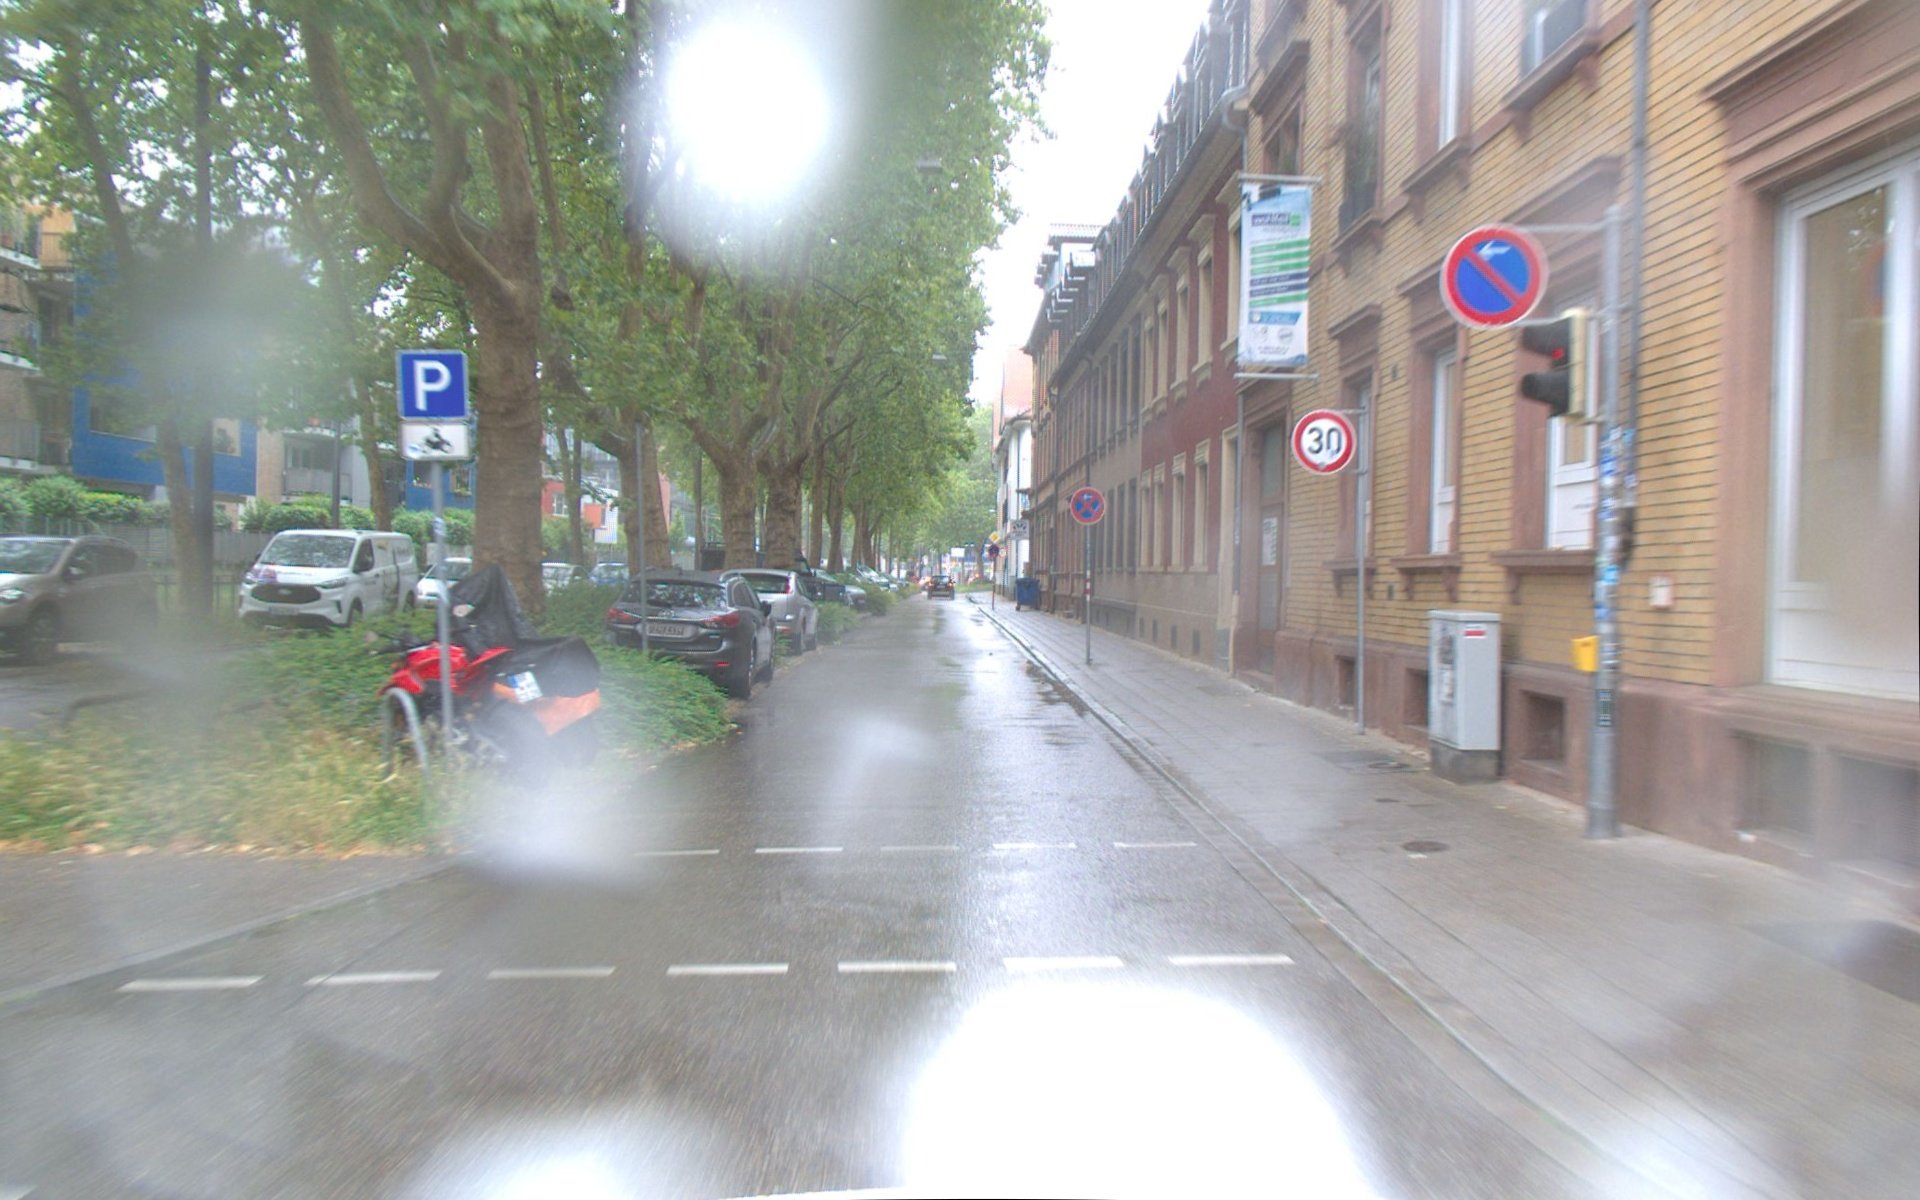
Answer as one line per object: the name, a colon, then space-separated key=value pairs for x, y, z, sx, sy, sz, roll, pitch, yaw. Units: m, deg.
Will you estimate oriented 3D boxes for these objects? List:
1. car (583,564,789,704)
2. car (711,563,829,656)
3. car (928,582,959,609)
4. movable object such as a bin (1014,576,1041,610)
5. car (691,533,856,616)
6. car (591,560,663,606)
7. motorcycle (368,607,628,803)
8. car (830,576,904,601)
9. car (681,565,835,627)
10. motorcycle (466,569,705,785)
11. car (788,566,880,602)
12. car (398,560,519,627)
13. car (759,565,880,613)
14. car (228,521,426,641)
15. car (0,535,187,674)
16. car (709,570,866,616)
car: x=-3.346 y=0.341 z=21.080 sx=1.857 sy=1.511 sz=4.621 roll=2 pitch=1 yaw=-1
car: x=-3.448 y=0.127 z=30.728 sx=1.694 sy=1.541 sz=4.207 roll=2 pitch=1 yaw=-1
car: x=-1.092 y=-0.328 z=107.551 sx=1.953 sy=1.668 sz=3.999 roll=2 pitch=0 yaw=-1
movable object such as a bin: x=2.820 y=-0.300 z=68.802 sx=1.000 sy=1.324 sz=1.367 roll=-2 pitch=1 yaw=-1
car: x=-5.451 y=-0.761 z=48.278 sx=4.562 sy=2.323 sz=2.006 roll=1 pitch=1 yaw=33
car: x=-12.176 y=-0.642 z=60.691 sx=1.866 sy=1.560 sz=4.214 roll=1 pitch=1 yaw=-2
motorcycle: x=-3.415 y=0.713 z=12.098 sx=2.106 sy=1.230 sz=0.863 roll=2 pitch=1 yaw=44
car: x=-5.930 y=-0.737 z=105.074 sx=4.461 sy=1.508 sz=1.772 roll=0 pitch=1 yaw=30
car: x=-5.041 y=-0.127 z=41.312 sx=3.424 sy=1.461 sz=1.780 roll=1 pitch=1 yaw=27
motorcycle: x=-2.976 y=0.554 z=13.015 sx=2.073 sy=1.526 sz=0.767 roll=2 pitch=0 yaw=43
car: x=-7.268 y=-0.926 z=95.541 sx=5.020 sy=2.012 sz=2.099 roll=0 pitch=1 yaw=30
car: x=-12.529 y=-0.191 z=41.595 sx=1.866 sy=1.560 sz=4.214 roll=1 pitch=1 yaw=-2
car: x=-5.066 y=-0.413 z=59.378 sx=3.977 sy=1.564 sz=1.832 roll=3 pitch=2 yaw=30
car: x=-12.125 y=-0.385 z=32.128 sx=2.013 sy=2.032 sz=5.430 roll=3 pitch=1 yaw=-4
car: x=-12.021 y=-0.014 z=21.501 sx=1.865 sy=1.628 sz=4.467 roll=1 pitch=1 yaw=-1
car: x=-5.327 y=-0.231 z=51.085 sx=4.554 sy=1.349 sz=1.845 roll=1 pitch=1 yaw=27
